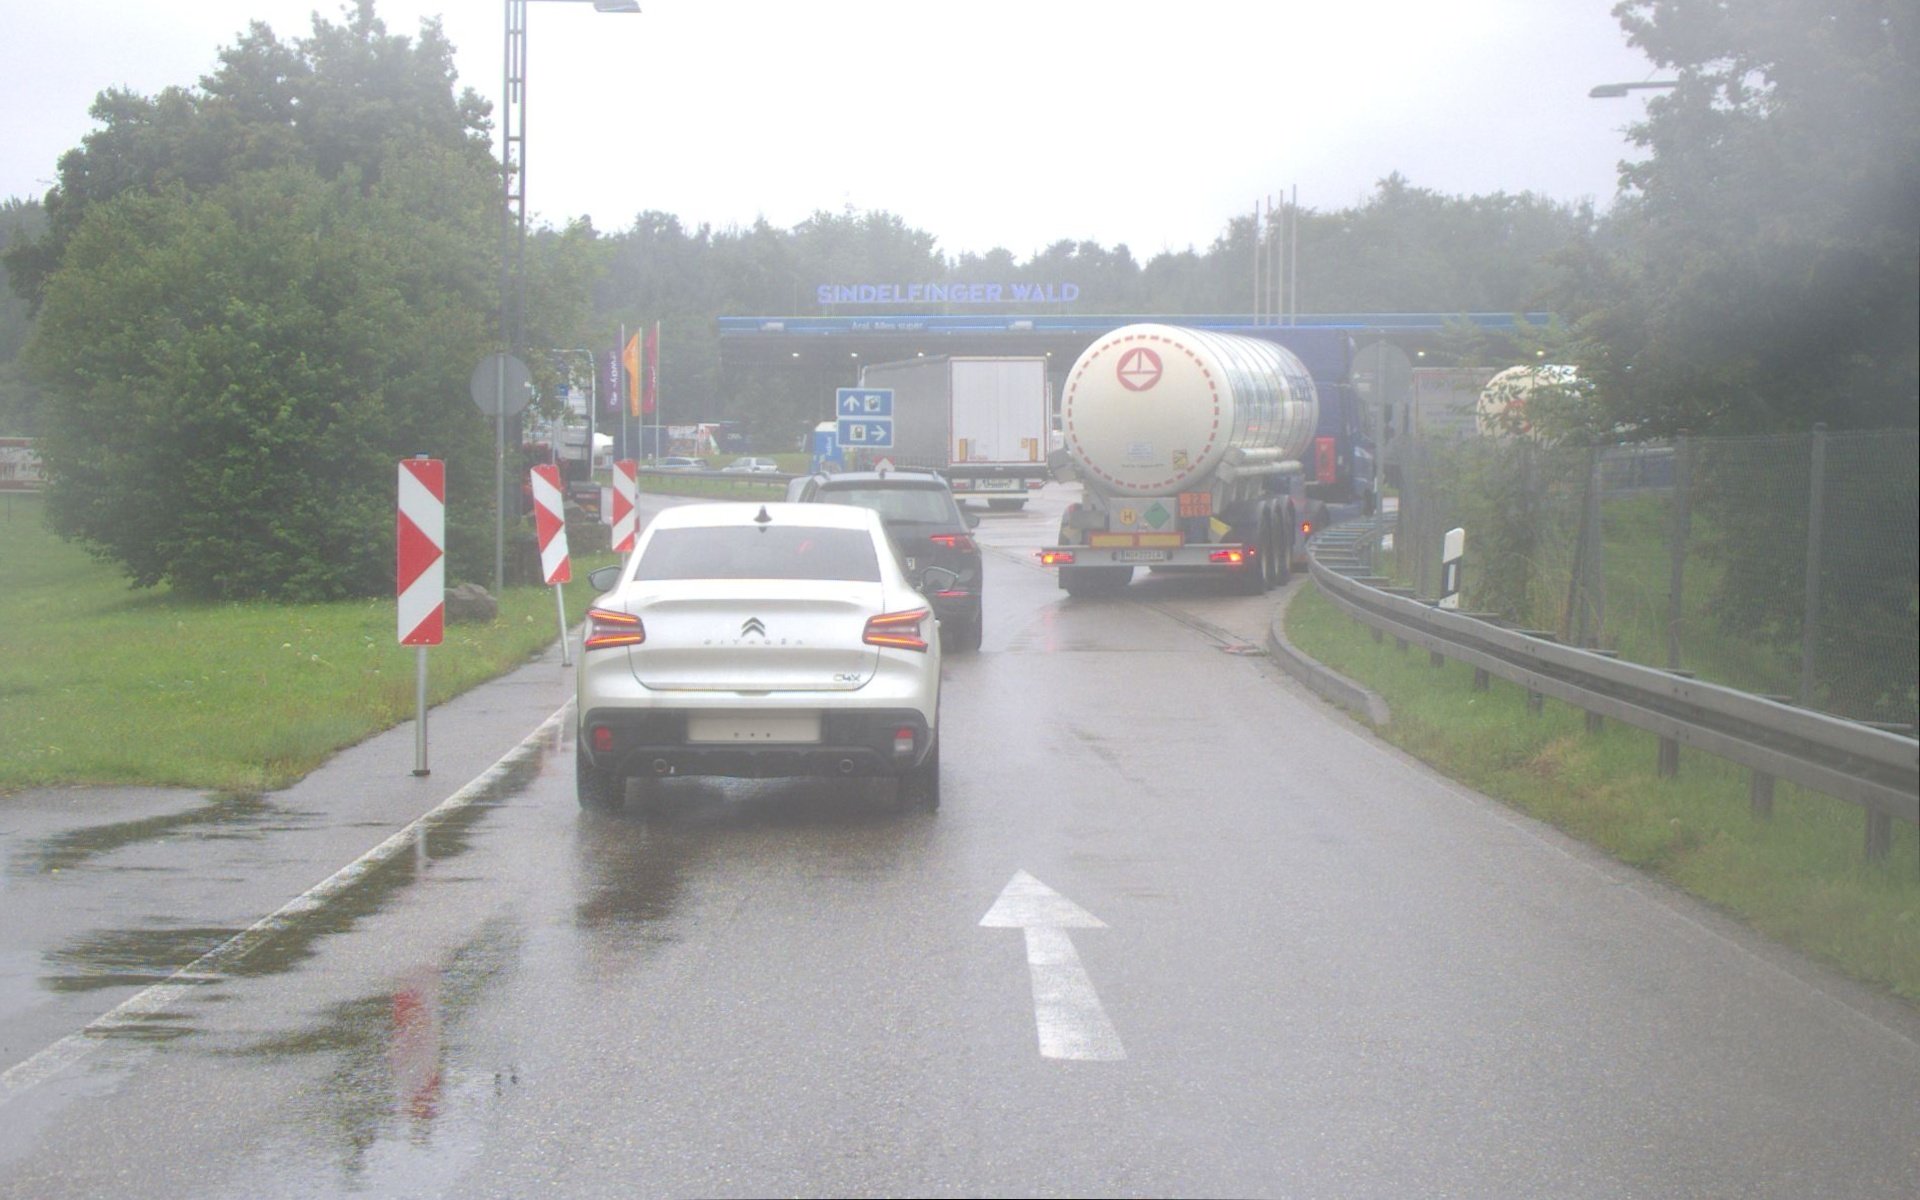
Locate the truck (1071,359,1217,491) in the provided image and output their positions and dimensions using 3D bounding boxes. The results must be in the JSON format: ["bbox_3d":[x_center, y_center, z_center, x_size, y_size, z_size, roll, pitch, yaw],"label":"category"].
[{"bbox_3d":[6.068,-5.872,115.002,3.233,4.173,8.447,1,3,-8],"label":"truck"}]

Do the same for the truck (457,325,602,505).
[{"bbox_3d":[-9.775,-4.157,77.632,2.914,3.890,6.319,0,3,-10],"label":"truck"}]

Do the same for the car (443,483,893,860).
[{"bbox_3d":[-1.359,0.278,17.576,1.993,1.673,4.000,-1,1,-1],"label":"car"}]

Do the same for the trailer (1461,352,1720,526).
[{"bbox_3d":[13.473,-3.410,72.703,2.135,3.428,10.237,1,3,29],"label":"trailer"}]

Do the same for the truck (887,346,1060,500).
[{"bbox_3d":[0.220,-4.782,92.818,2.370,3.860,12.460,-1,3,-10],"label":"truck"}]

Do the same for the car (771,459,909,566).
[{"bbox_3d":[-1.782,-1.299,49.786,1.878,1.456,4.001,1,2,-3],"label":"car"}]

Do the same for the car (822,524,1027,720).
[{"bbox_3d":[-0.293,0.166,32.340,1.742,1.661,4.000,3,1,1],"label":"car"}]

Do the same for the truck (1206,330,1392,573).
[{"bbox_3d":[5.211,-2.266,52.310,2.054,3.518,4.743,1,3,15],"label":"truck"}]

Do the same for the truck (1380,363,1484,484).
[{"bbox_3d":[15.054,-5.674,109.921,2.425,3.792,4.002,-1,4,-6],"label":"truck"}]

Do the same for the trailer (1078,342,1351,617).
[{"bbox_3d":[3.548,-1.649,45.343,1.981,3.213,10.316,1,3,13],"label":"trailer"}]
